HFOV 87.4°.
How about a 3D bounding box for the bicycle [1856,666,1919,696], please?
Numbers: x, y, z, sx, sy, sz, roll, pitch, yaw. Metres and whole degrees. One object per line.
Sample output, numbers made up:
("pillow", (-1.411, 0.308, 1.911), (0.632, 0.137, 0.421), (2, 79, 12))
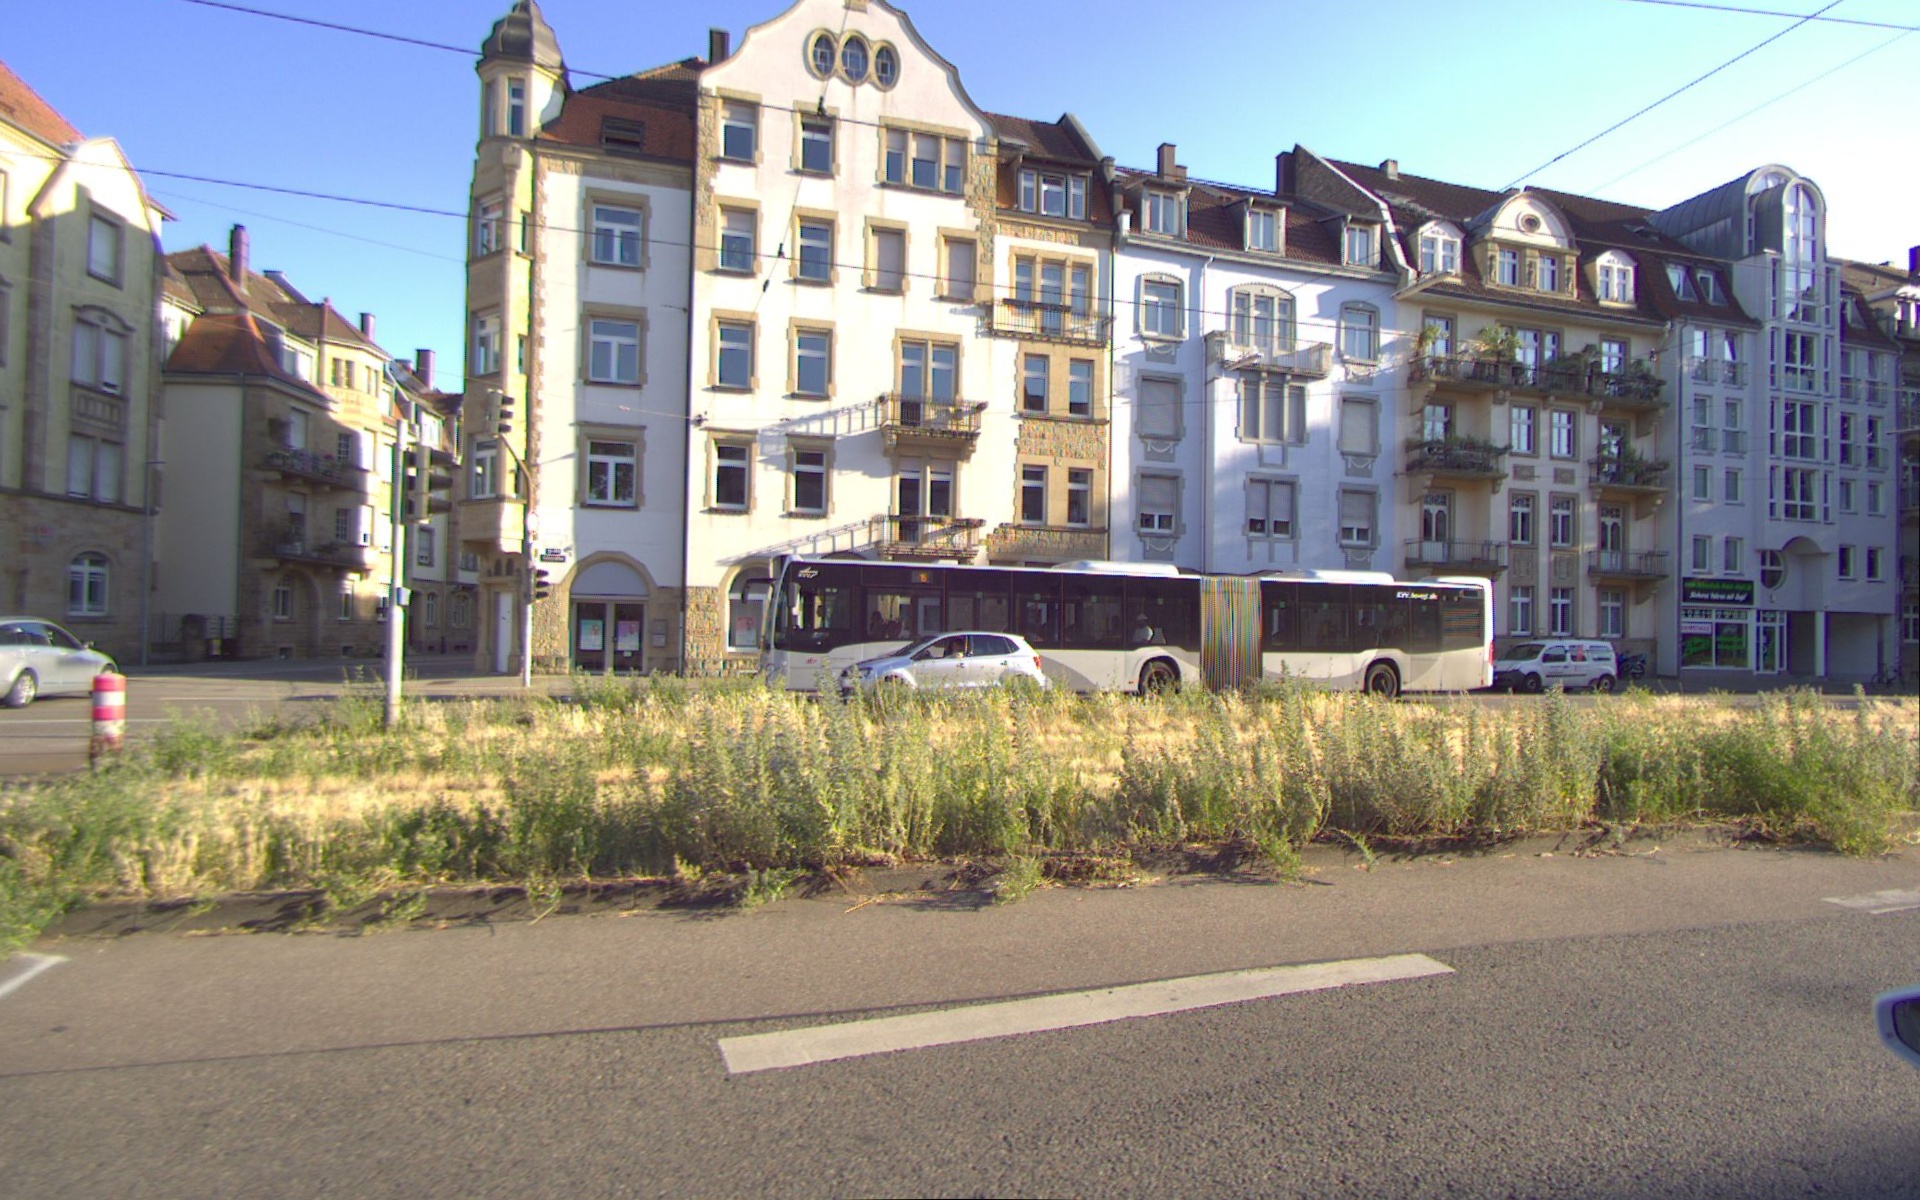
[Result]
("bicycle", (36.471, 3.177, 39.433), (1.858, 1.047, 0.759), (2, 4, -4))

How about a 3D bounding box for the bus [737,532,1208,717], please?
("bus", (0.260, 0.676, 21.962), (9.740, 3.418, 3.265), (3, -2, -17))

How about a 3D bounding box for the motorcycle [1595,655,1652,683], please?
("motorcycle", (26.338, 2.745, 39.871), (2.382, 1.035, 0.527), (2, 1, -18))

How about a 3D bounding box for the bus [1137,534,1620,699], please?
("bus", (10.522, 0.581, 25.150), (11.784, 3.418, 3.254), (3, -2, -17))

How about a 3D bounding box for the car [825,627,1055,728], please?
("car", (-0.419, 1.430, 18.780), (3.933, 1.706, 1.931), (2, -2, -14))

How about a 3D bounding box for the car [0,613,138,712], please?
("car", (-15.868, 0.999, 16.778), (1.709, 1.496, 4.160), (2, -3, -16))

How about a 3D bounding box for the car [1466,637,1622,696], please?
("car", (19.592, 2.232, 33.753), (4.577, 1.810, 1.904), (3, -2, -16))
